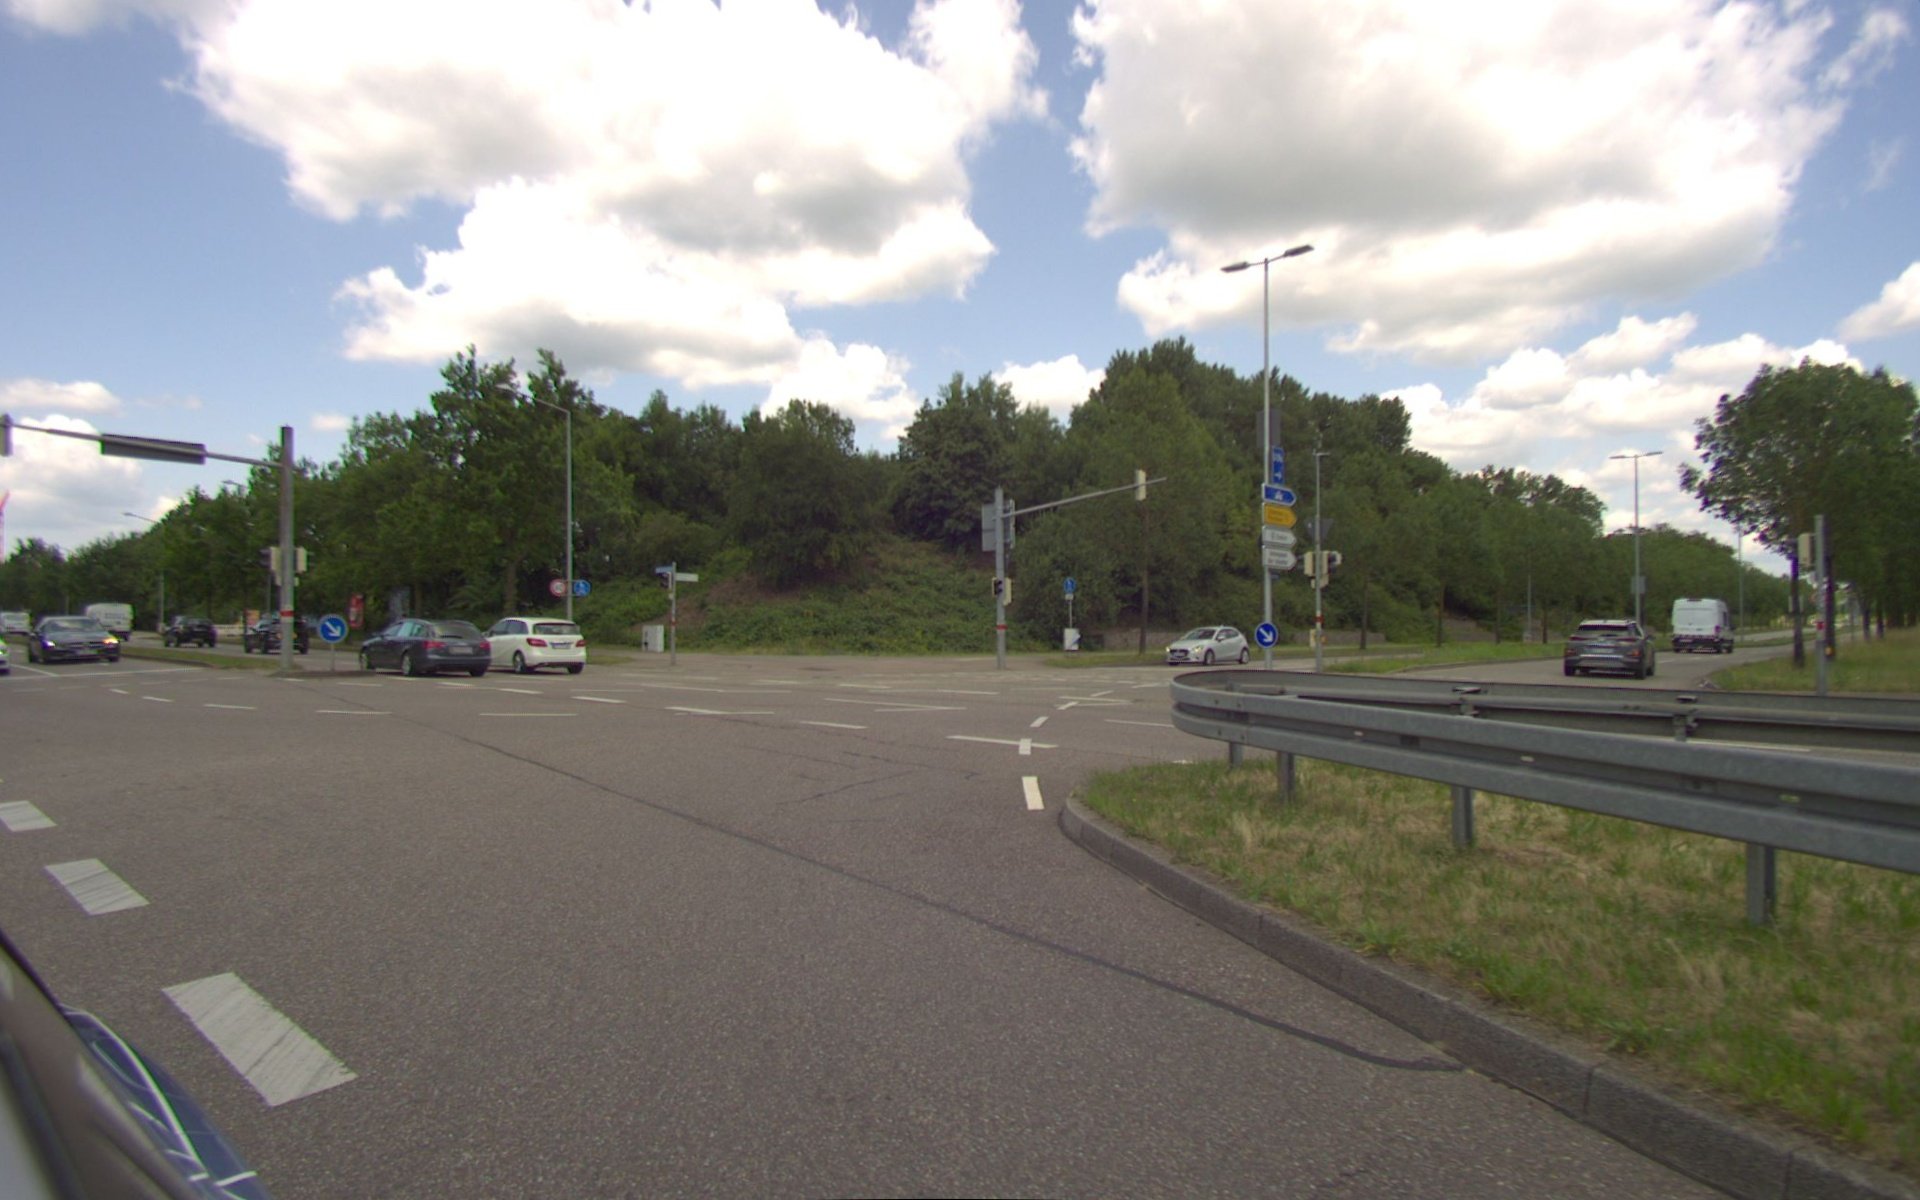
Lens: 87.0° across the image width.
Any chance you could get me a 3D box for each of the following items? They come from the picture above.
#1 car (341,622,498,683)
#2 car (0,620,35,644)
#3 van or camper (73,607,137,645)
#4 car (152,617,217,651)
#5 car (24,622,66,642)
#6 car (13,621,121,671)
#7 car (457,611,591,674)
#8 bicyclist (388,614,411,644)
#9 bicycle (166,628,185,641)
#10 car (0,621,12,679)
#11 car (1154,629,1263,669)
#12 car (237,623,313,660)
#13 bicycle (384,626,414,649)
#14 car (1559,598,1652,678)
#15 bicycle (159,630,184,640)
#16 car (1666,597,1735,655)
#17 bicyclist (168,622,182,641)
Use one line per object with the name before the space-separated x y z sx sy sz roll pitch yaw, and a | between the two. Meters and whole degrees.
car | -13.810 1.292 25.729 4.778 1.400 1.953 -1 -3 41
car | -80.470 2.742 85.971 5.189 1.979 2.168 -2 -2 40
van or camper | -60.764 1.842 71.881 7.059 2.559 2.328 -2 -1 40
car | -42.596 1.860 55.576 4.217 1.780 1.973 -2 -2 41
car | -85.310 2.953 94.384 4.399 1.815 1.976 -1 -2 35
car | -28.301 1.414 32.022 4.830 1.426 1.973 -2 -1 41
car | -12.370 1.167 28.590 4.390 1.644 1.787 -1 -2 41
bicyclist | -33.128 1.695 59.807 0.997 1.760 0.883 -1 0 42
bicycle | -69.478 3.066 89.615 2.254 1.170 0.743 -1 -2 37
car | -25.847 1.313 25.904 4.293 1.425 1.895 -2 1 41
car | 9.455 1.823 38.410 4.257 1.389 2.002 1 -2 -43
car | -30.732 1.833 45.389 3.999 1.541 1.905 -1 -2 42
bicycle | -33.234 2.221 59.936 2.393 1.280 0.813 -1 0 42
car | 17.697 1.019 27.792 1.994 2.029 3.956 -1 -2 32
bicycle | -83.795 3.689 107.539 2.117 1.023 0.665 1 -2 -3
car | 38.439 1.346 52.496 2.386 2.843 5.341 -2 -2 41
bicyclist | -69.666 2.814 89.763 0.979 1.671 0.731 -1 -2 37
